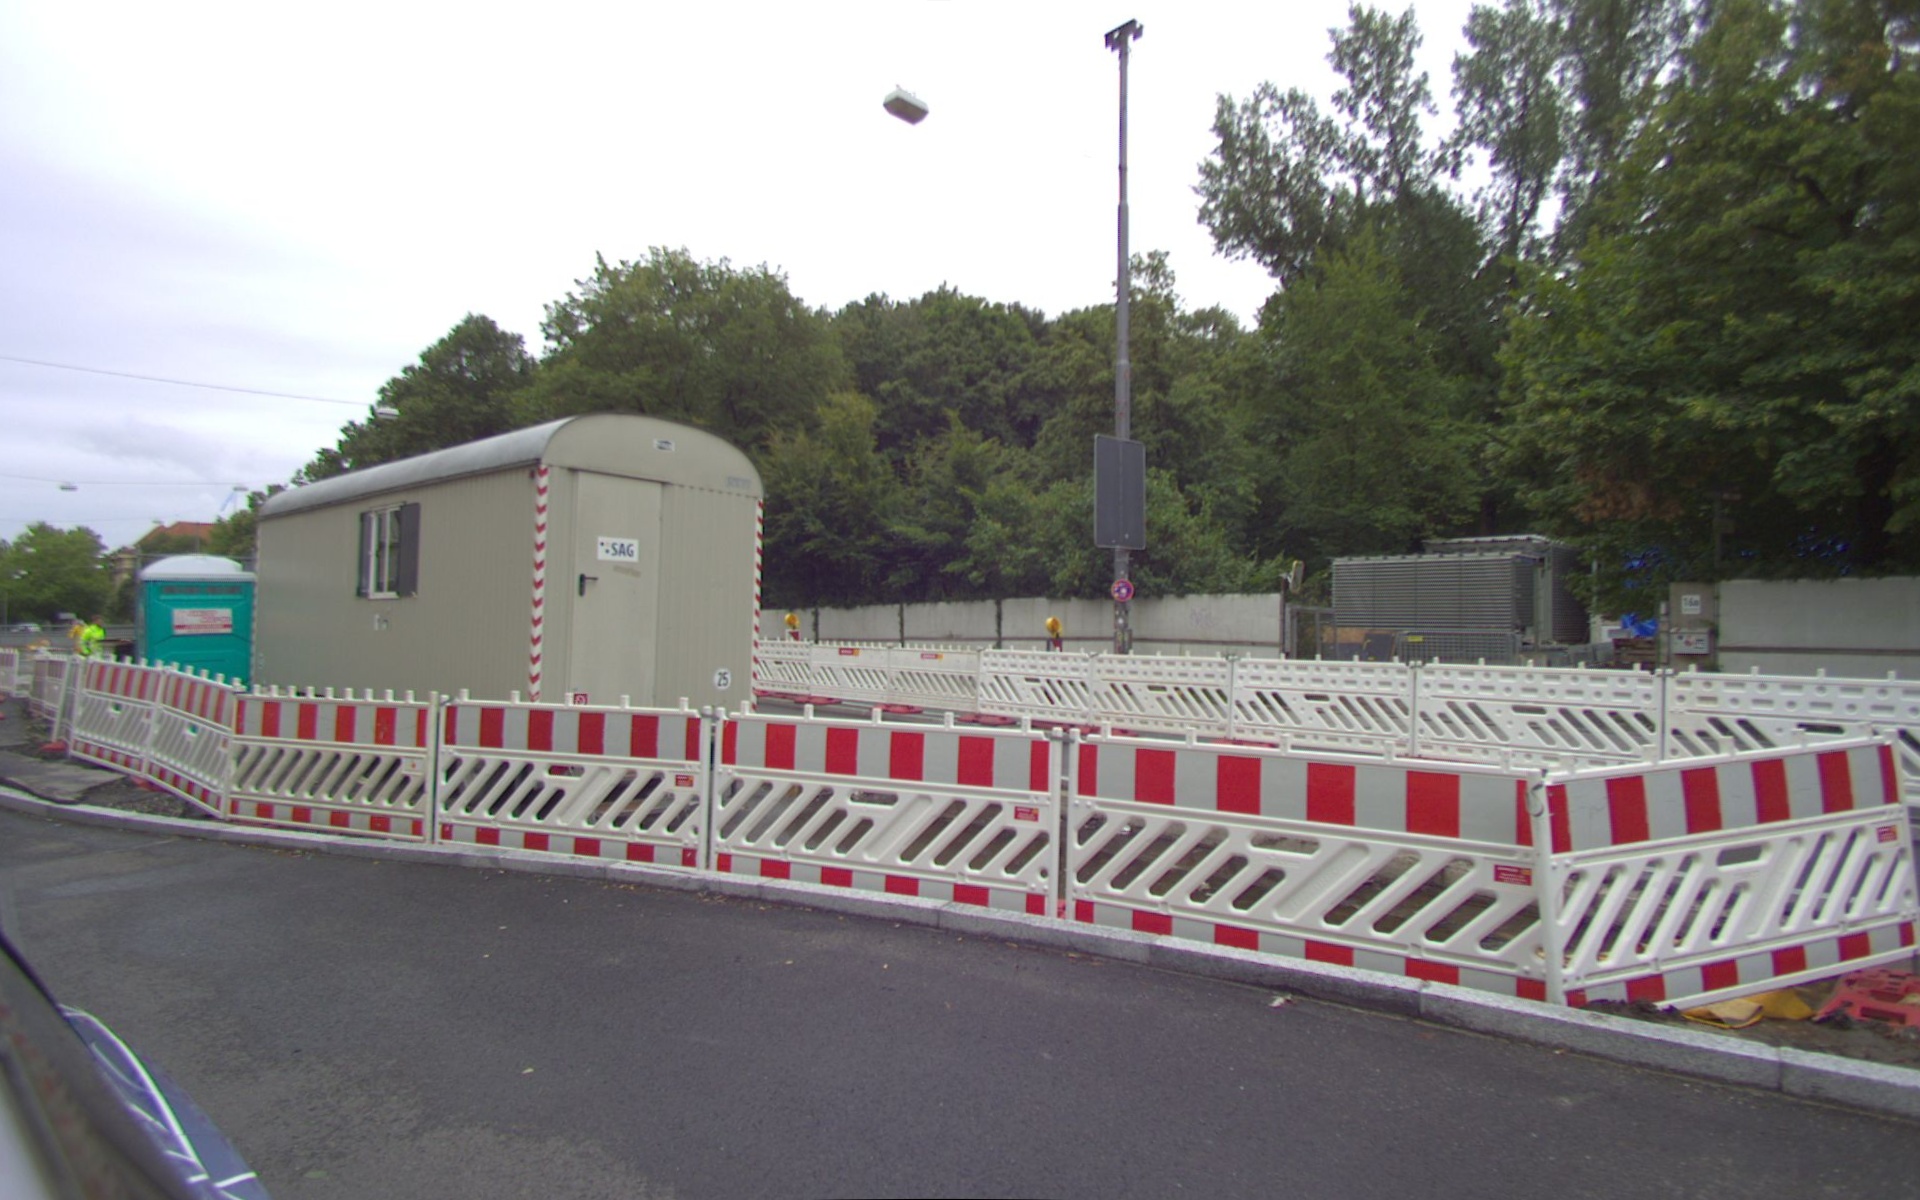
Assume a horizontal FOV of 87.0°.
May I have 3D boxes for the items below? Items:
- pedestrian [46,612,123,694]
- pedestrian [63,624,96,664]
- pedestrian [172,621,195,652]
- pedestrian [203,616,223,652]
[{"bbox_3d":[-20.123,1.202,23.272,0.981,1.816,0.813,2,-2,7],"label":"pedestrian"},{"bbox_3d":[-40.483,2.011,46.531,0.871,1.850,0.852,-1,-2,30],"label":"pedestrian"},{"bbox_3d":[-41.899,1.963,54.606,0.887,1.701,0.912,2,-2,-41],"label":"pedestrian"},{"bbox_3d":[-41.334,1.877,56.029,0.657,1.985,0.808,1,-2,-19],"label":"pedestrian"}]
